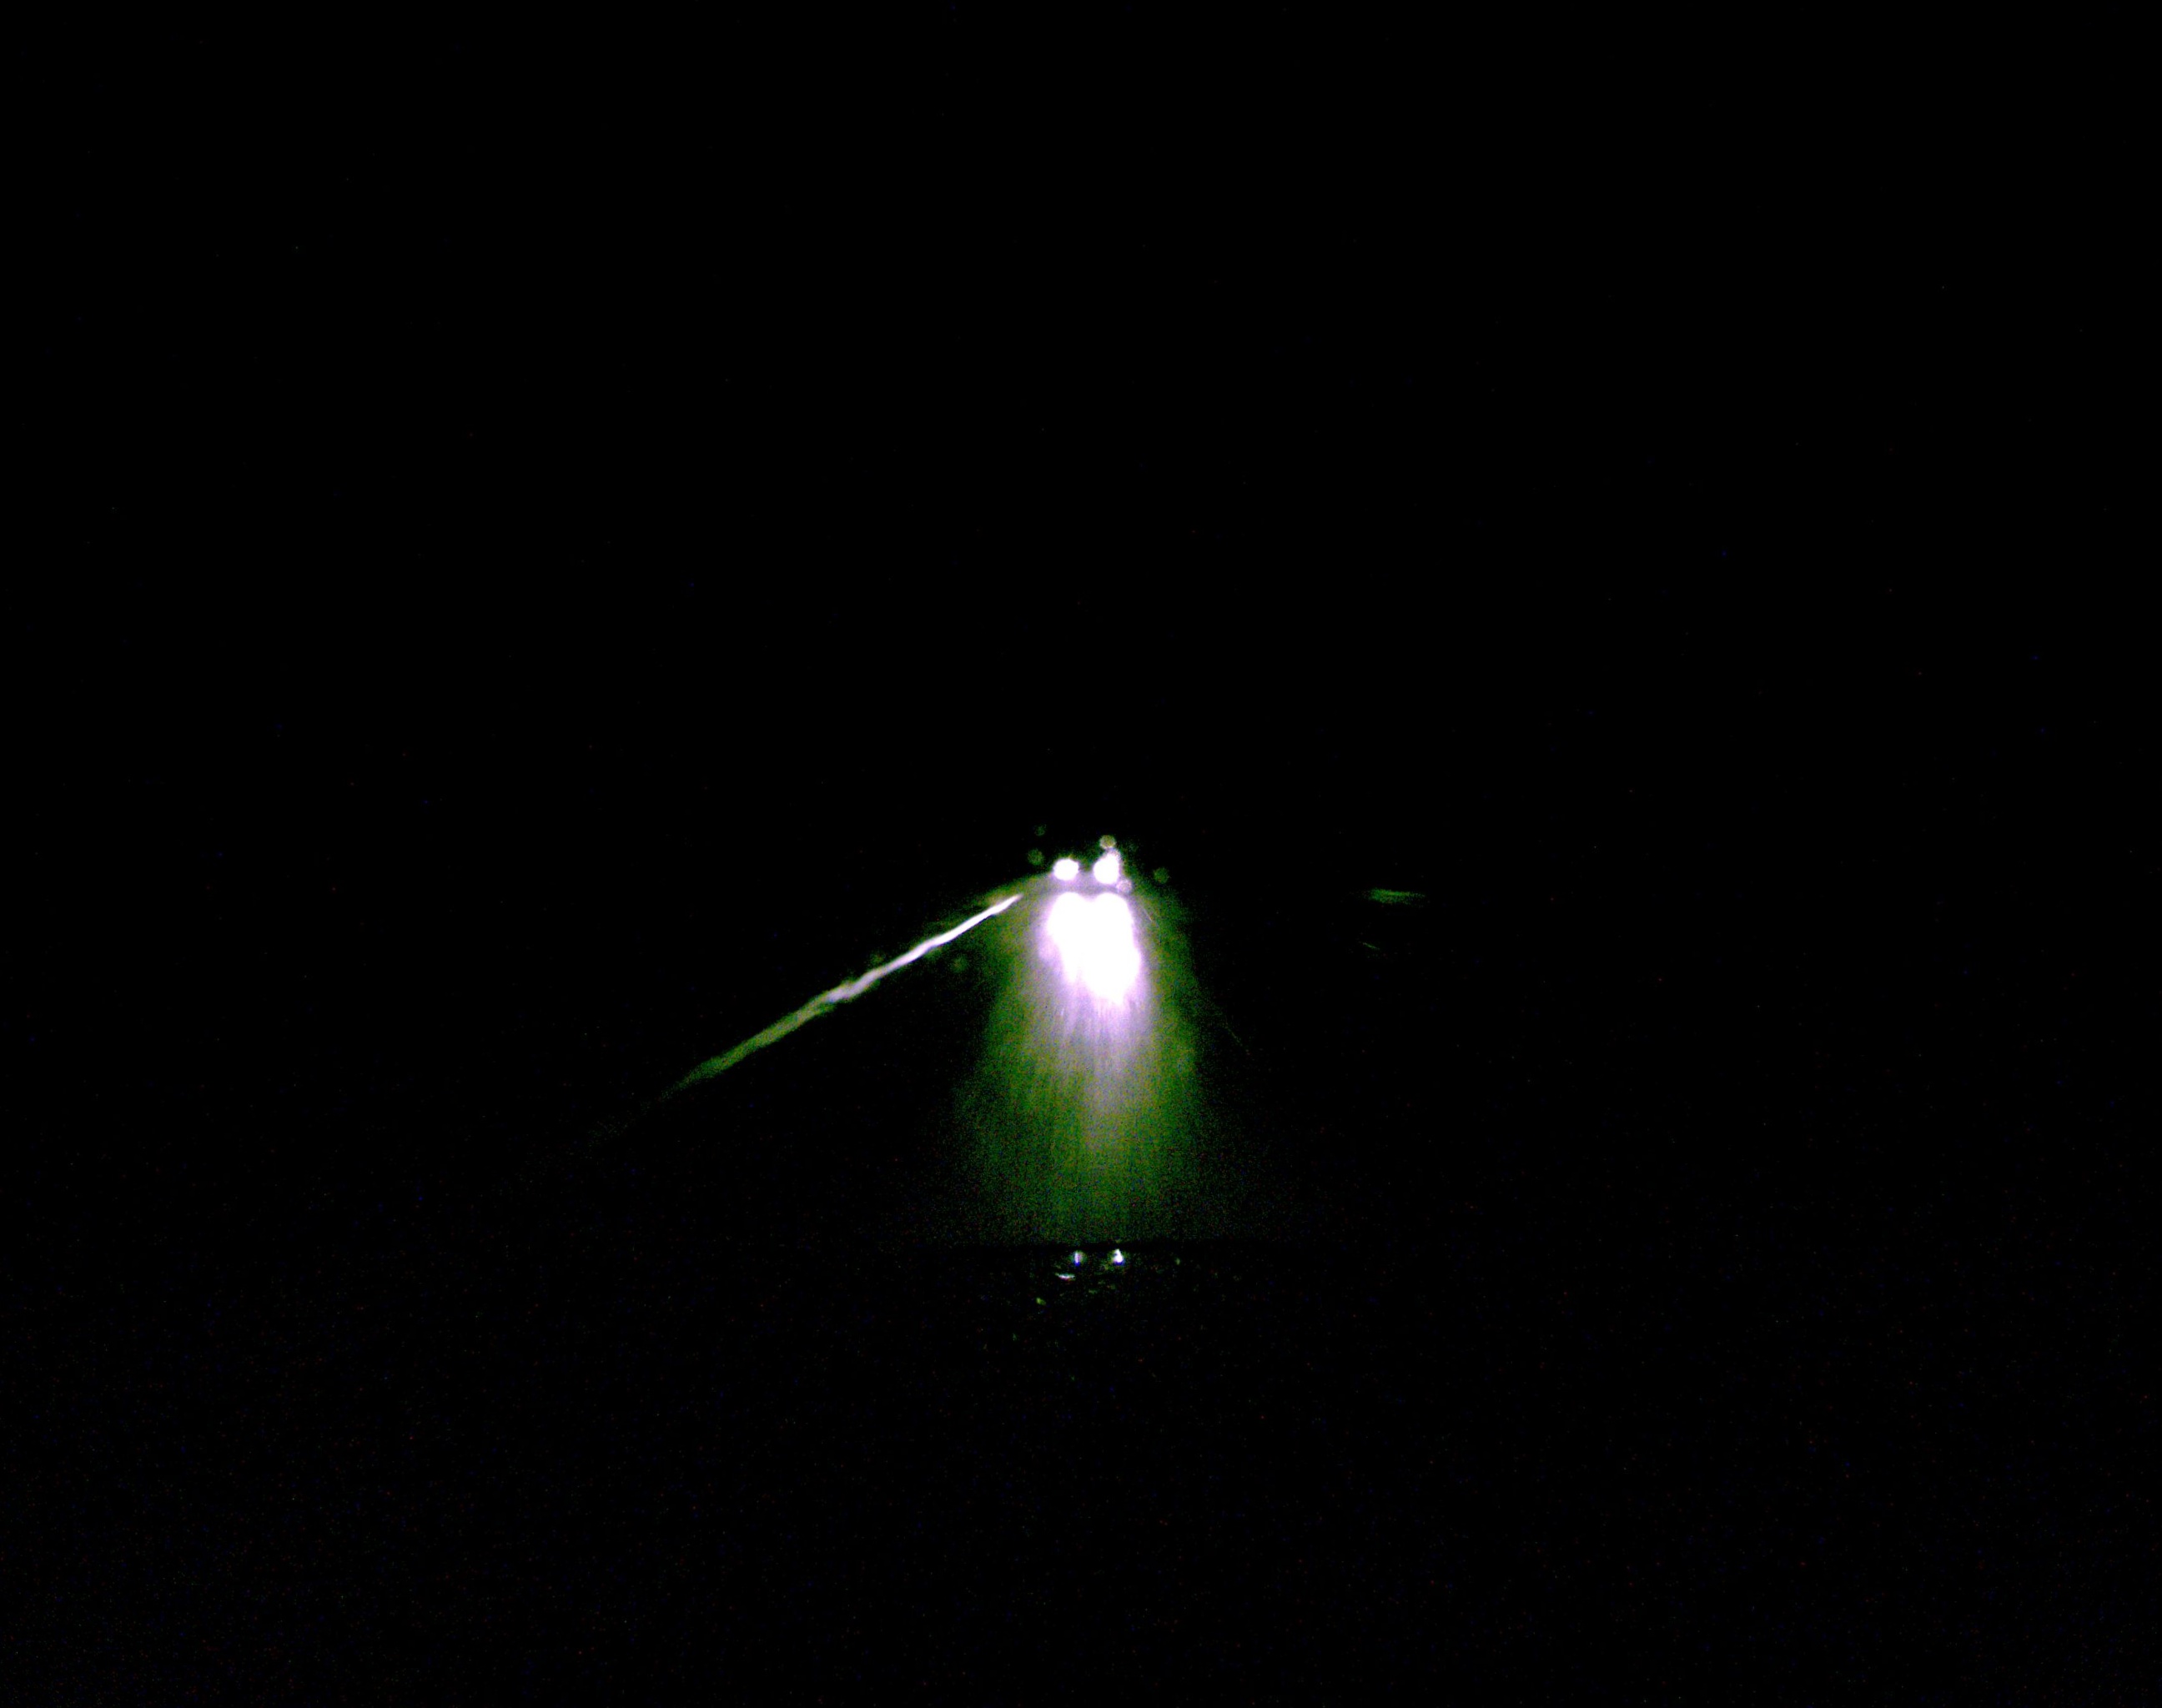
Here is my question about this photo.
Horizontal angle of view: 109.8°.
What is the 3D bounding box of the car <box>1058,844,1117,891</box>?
[{"bbox_3d":[0.317,0.436,28.538,1.792,1.594,4.001,0,1,6],"label":"car"}]
